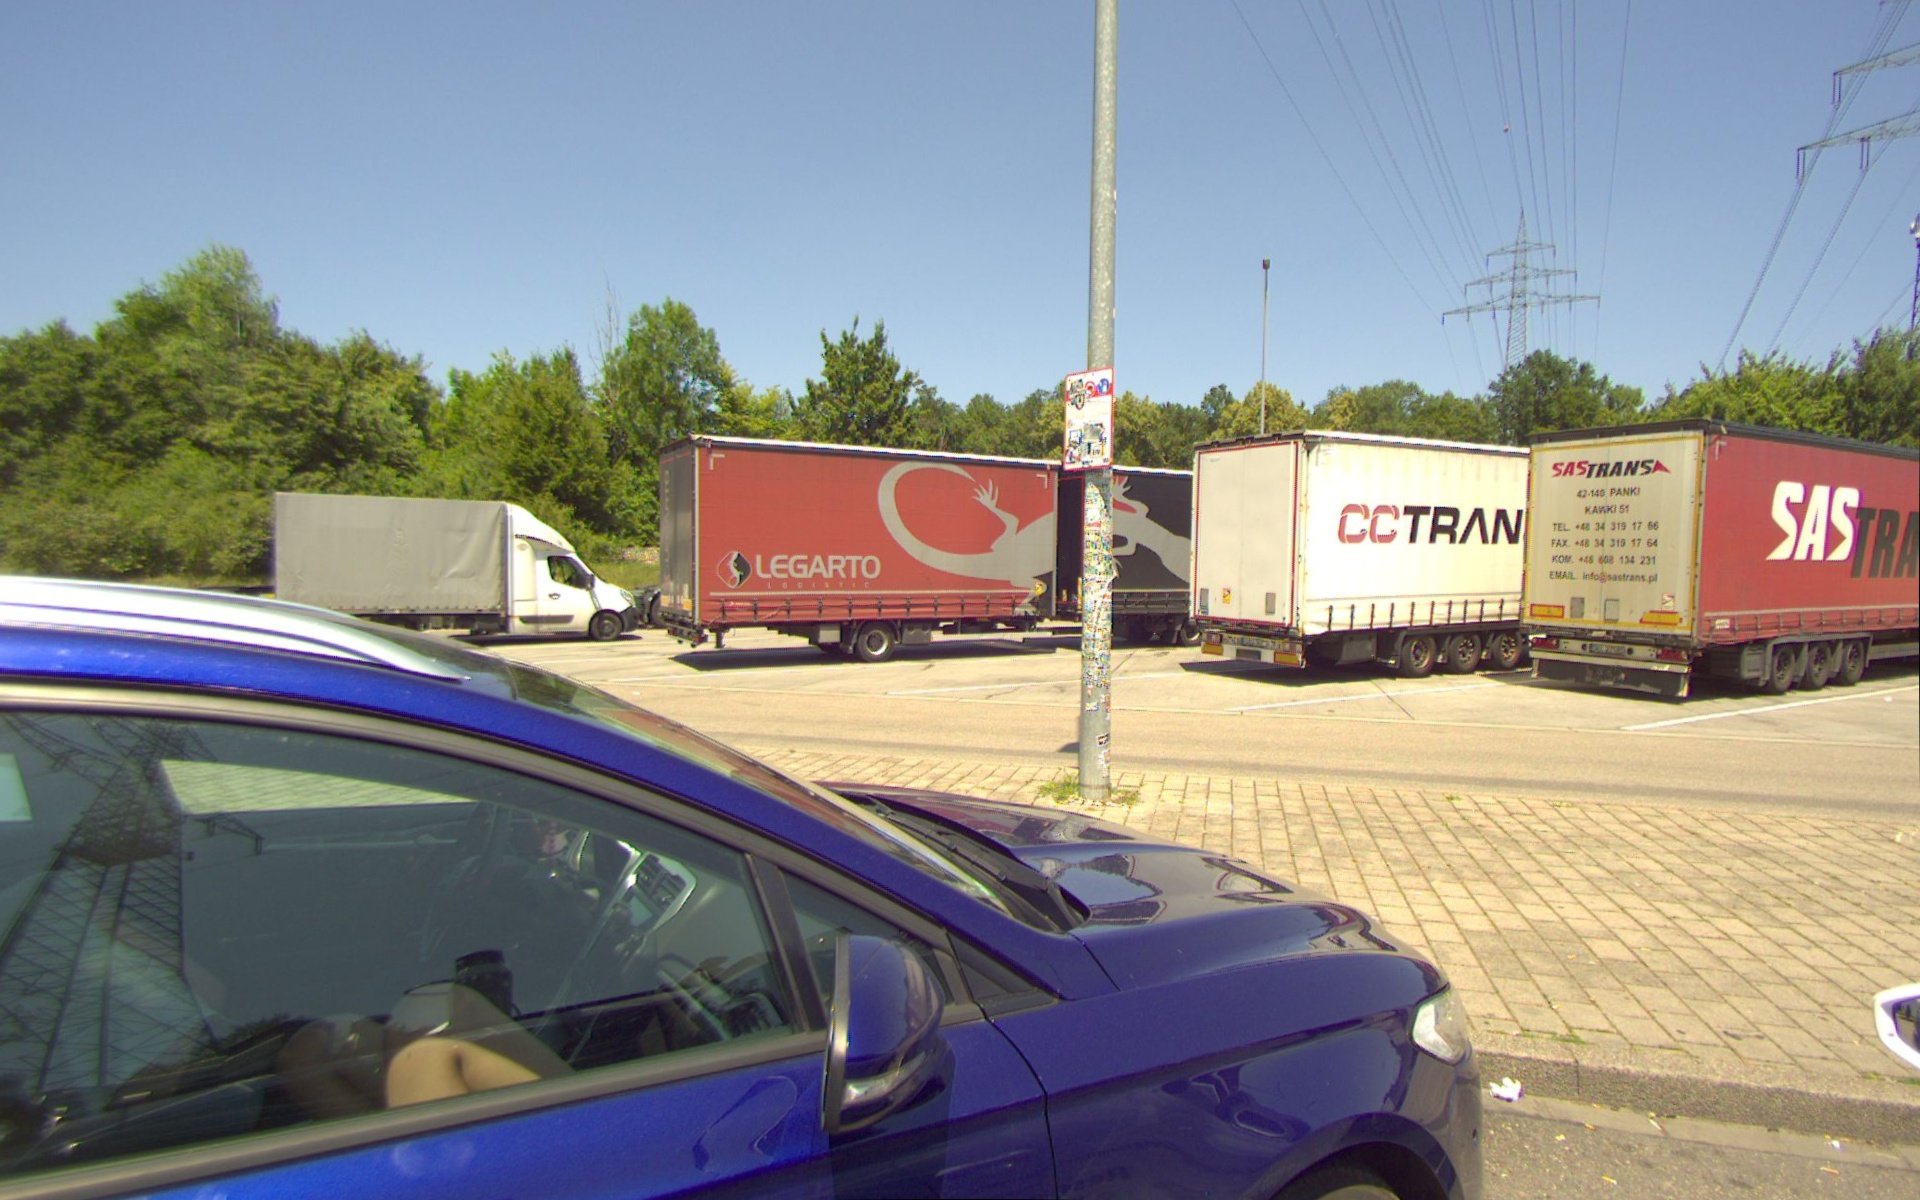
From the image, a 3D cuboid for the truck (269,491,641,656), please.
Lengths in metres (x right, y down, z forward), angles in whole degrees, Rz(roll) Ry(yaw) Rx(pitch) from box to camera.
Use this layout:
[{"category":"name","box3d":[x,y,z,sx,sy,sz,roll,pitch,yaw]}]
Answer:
[{"category":"truck","box3d":[-11.253,-0.622,22.974,7.187,3.289,2.694,-1,3,-29]}]

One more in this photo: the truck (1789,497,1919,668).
[{"category":"truck","box3d":[21.244,-0.406,22.029,5.903,3.409,2.798,-1,3,-30]}]

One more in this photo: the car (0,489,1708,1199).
[{"category":"car","box3d":[-0.986,0.649,1.432,4.522,1.491,1.743,0,2,-32]}]

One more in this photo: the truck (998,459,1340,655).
[{"category":"truck","box3d":[5.257,-0.999,24.519,8.586,4.127,2.693,-1,3,-30]}]

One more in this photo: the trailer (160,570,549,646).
[{"category":"trailer","box3d":[-14.765,0.106,25.213,8.007,1.648,2.199,-1,3,-30]}]

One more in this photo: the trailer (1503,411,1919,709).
[{"category":"trailer","box3d":[15.452,-0.679,18.591,13.599,4.127,2.807,-1,3,-31]}]

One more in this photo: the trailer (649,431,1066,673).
[{"category":"trailer","box3d":[-1.896,-0.904,20.311,8.007,4.127,2.693,-1,3,-30]}]

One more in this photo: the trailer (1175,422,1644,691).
[{"category":"trailer","box3d":[8.958,-0.772,19.325,10.264,4.158,2.693,-1,3,-30]}]

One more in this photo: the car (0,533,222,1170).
[{"category":"car","box3d":[-4.427,0.577,2.068,4.522,1.526,1.743,0,2,-32]}]
